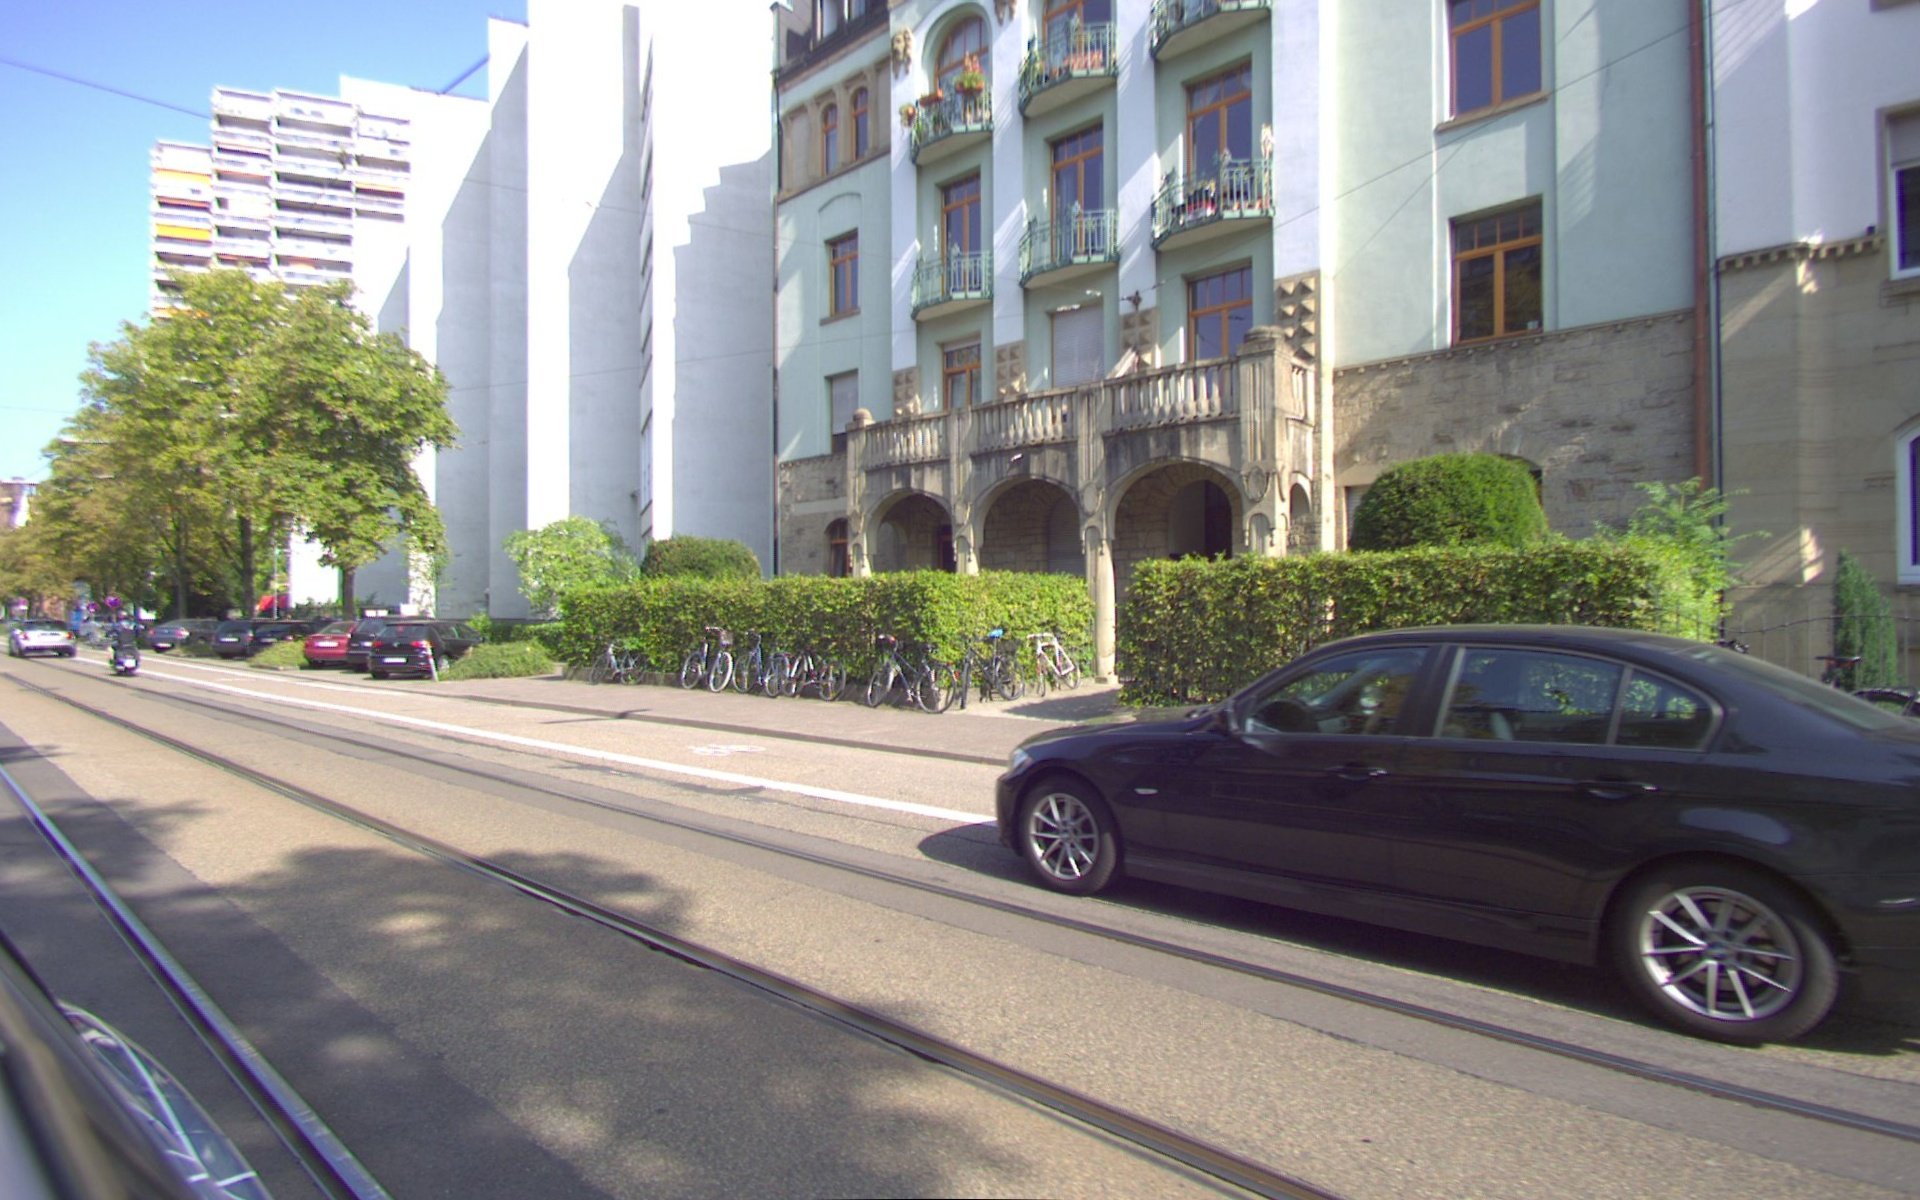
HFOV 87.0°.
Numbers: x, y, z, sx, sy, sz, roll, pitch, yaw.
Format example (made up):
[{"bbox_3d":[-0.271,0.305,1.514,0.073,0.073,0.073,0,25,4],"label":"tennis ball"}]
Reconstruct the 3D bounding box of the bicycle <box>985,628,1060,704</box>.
[{"bbox_3d":[0.964,0.982,15.452,0.425,1.096,1.336,-1,-2,41],"label":"bicycle"}]

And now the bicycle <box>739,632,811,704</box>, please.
[{"bbox_3d":[-3.026,1.075,16.473,0.419,1.096,1.680,1,-1,-38],"label":"bicycle"}]

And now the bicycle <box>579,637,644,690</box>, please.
[{"bbox_3d":[-6.940,1.242,20.107,1.769,0.985,0.420,-1,-2,42],"label":"bicycle"}]

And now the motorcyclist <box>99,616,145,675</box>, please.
[{"bbox_3d":[-21.337,1.132,25.753,0.889,1.464,0.805,-1,-2,45],"label":"motorcyclist"}]

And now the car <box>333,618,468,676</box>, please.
[{"bbox_3d":[-15.880,1.289,28.953,1.747,1.539,4.001,0,-1,-2],"label":"car"}]

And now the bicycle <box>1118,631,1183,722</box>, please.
[{"bbox_3d":[2.492,0.963,13.131,0.424,1.096,1.341,-1,-1,29],"label":"bicycle"}]

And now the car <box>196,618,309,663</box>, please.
[{"bbox_3d":[-26.008,1.450,37.375,1.745,1.539,4.006,0,-1,-6],"label":"car"}]

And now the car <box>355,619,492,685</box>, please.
[{"bbox_3d":[-13.565,1.268,25.867,1.745,1.539,4.006,0,-1,-6],"label":"car"}]

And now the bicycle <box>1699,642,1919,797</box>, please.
[{"bbox_3d":[6.603,0.888,7.859,1.355,1.096,0.366,-1,-2,42],"label":"bicycle"}]

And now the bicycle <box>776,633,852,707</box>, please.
[{"bbox_3d":[-2.332,1.077,16.032,0.419,1.096,1.680,1,-1,-38],"label":"bicycle"}]

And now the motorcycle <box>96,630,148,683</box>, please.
[{"bbox_3d":[-21.347,1.411,25.758,2.202,1.252,0.805,-1,-2,45],"label":"motorcycle"}]

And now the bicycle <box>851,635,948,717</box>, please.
[{"bbox_3d":[-0.895,1.061,14.496,0.419,1.096,1.678,1,-2,-43],"label":"bicycle"}]

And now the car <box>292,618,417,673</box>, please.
[{"bbox_3d":[-18.194,1.329,30.633,1.745,1.539,4.006,0,-1,-6],"label":"car"}]

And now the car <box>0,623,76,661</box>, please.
[{"bbox_3d":[-34.825,1.554,38.197,3.787,1.367,1.734,-1,-2,42],"label":"car"}]

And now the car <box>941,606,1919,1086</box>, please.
[{"bbox_3d":[2.185,0.758,4.775,4.644,1.413,1.679,-1,0,42],"label":"car"}]

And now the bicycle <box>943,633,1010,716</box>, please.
[{"bbox_3d":[0.253,1.021,14.266,0.423,1.096,1.384,-1,-1,25],"label":"bicycle"}]

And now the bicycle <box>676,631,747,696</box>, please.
[{"bbox_3d":[-4.418,1.101,17.930,0.419,1.096,1.677,1,-2,-45],"label":"bicycle"}]

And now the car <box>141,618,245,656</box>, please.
[{"bbox_3d":[-32.656,1.538,43.219,1.745,1.539,4.006,0,-1,-6],"label":"car"}]

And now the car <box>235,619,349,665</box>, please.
[{"bbox_3d":[-23.538,1.442,35.850,1.745,1.539,4.006,0,-1,-6],"label":"car"}]
